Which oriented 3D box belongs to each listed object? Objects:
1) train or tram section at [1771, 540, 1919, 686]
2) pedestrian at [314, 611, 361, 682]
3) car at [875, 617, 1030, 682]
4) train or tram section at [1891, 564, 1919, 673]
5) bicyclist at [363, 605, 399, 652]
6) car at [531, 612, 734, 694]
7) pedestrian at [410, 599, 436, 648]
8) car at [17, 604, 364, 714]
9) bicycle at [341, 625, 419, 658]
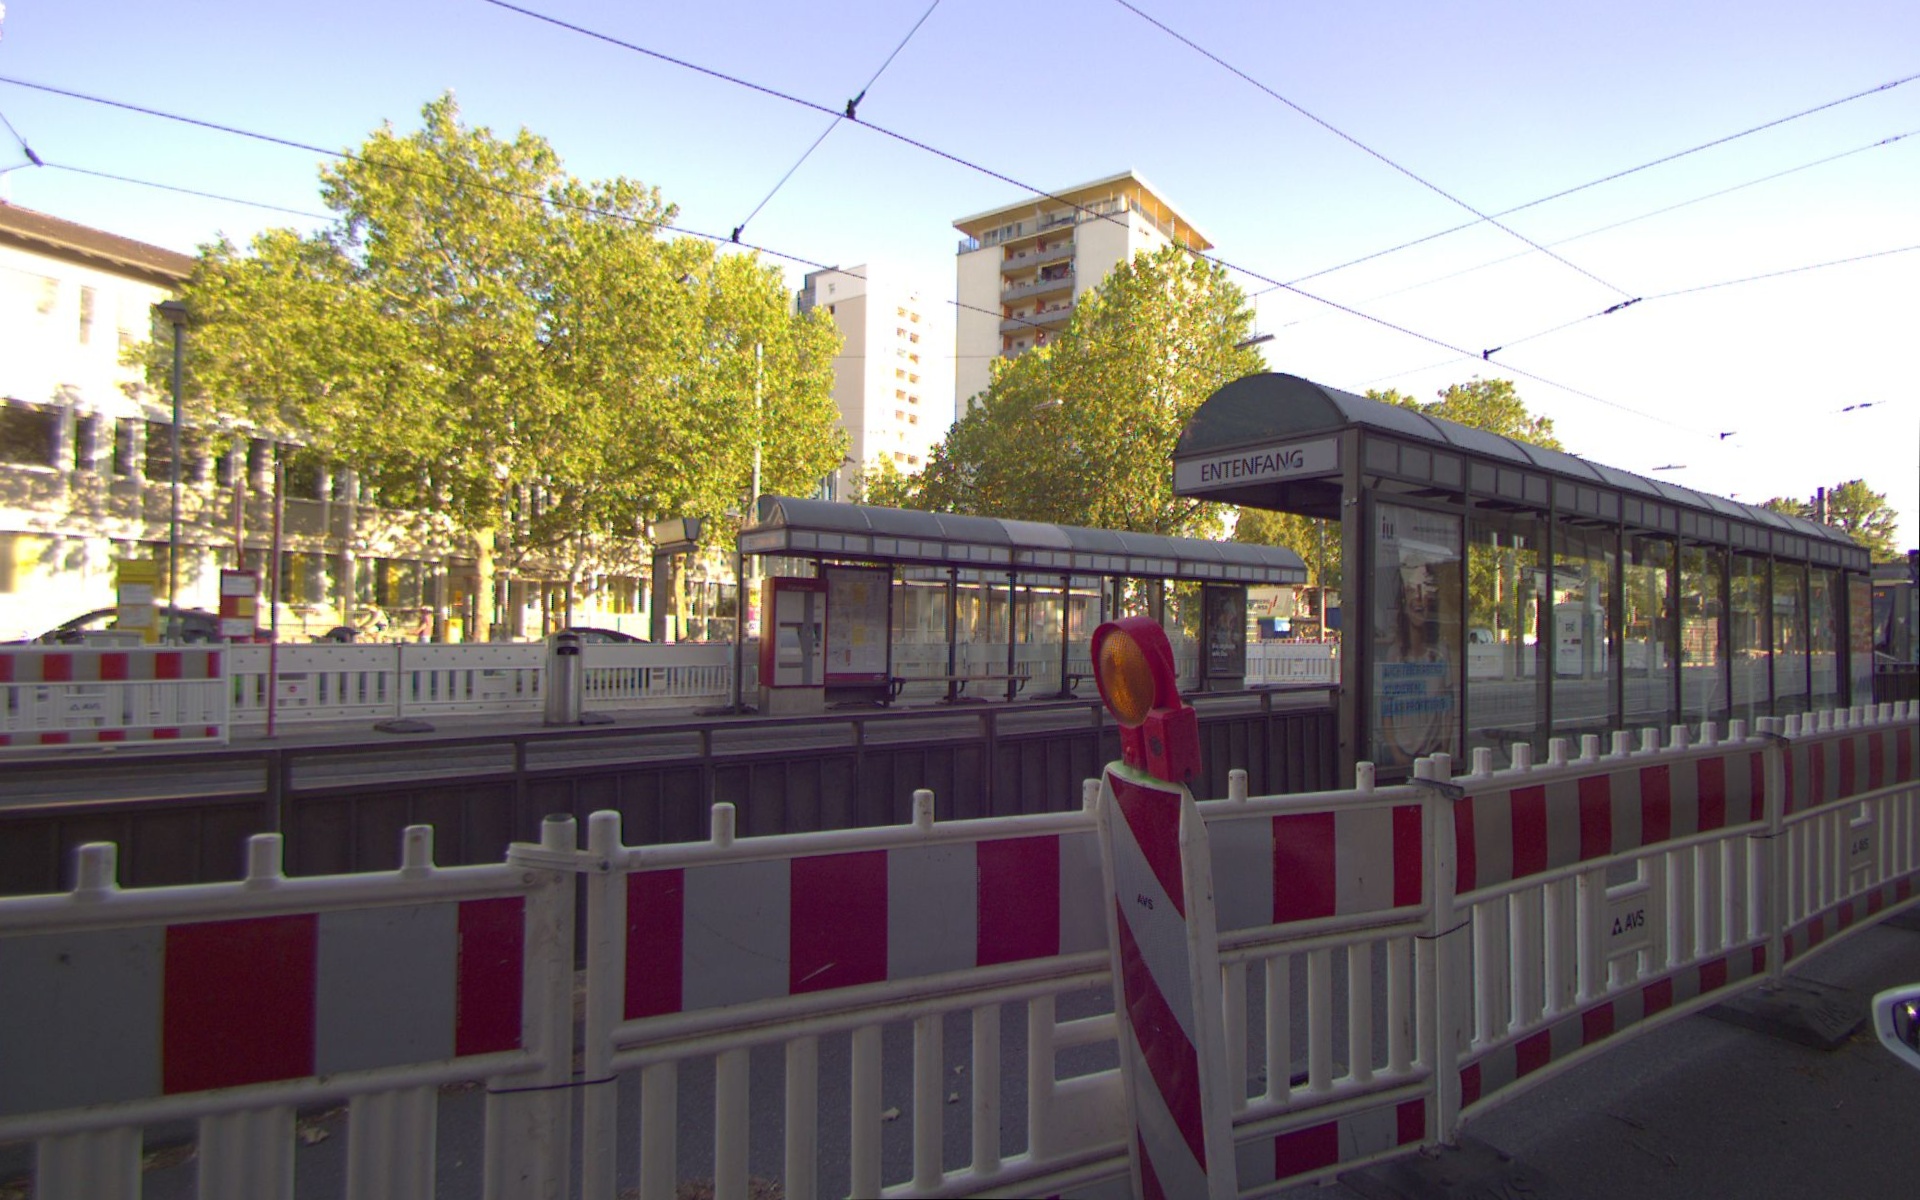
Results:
[{"bbox_3d":[27.281,0.467,29.236,11.657,3.580,2.668,2,0,-36],"label":"train or tram section"},{"bbox_3d":[-16.494,1.223,26.618,0.921,1.858,0.691,2,-2,-43],"label":"pedestrian"},{"bbox_3d":[-0.193,1.357,28.082,3.959,1.683,1.901,2,-2,-35],"label":"car"},{"bbox_3d":[36.614,0.771,36.153,11.477,3.606,2.666,2,0,-38],"label":"train or tram section"},{"bbox_3d":[-19.253,0.942,33.388,0.565,1.547,0.845,0,-1,27],"label":"bicyclist"},{"bbox_3d":[-7.353,1.167,22.630,3.958,1.683,1.982,2,-2,-34],"label":"car"},{"bbox_3d":[-16.577,0.730,30.996,0.581,1.474,0.579,2,-2,-42],"label":"pedestrian"},{"bbox_3d":[-12.971,0.976,17.359,4.511,1.683,1.982,2,-2,-34],"label":"car"},{"bbox_3d":[-19.262,1.370,33.412,0.666,1.045,2.186,0,-2,29],"label":"bicycle"}]
